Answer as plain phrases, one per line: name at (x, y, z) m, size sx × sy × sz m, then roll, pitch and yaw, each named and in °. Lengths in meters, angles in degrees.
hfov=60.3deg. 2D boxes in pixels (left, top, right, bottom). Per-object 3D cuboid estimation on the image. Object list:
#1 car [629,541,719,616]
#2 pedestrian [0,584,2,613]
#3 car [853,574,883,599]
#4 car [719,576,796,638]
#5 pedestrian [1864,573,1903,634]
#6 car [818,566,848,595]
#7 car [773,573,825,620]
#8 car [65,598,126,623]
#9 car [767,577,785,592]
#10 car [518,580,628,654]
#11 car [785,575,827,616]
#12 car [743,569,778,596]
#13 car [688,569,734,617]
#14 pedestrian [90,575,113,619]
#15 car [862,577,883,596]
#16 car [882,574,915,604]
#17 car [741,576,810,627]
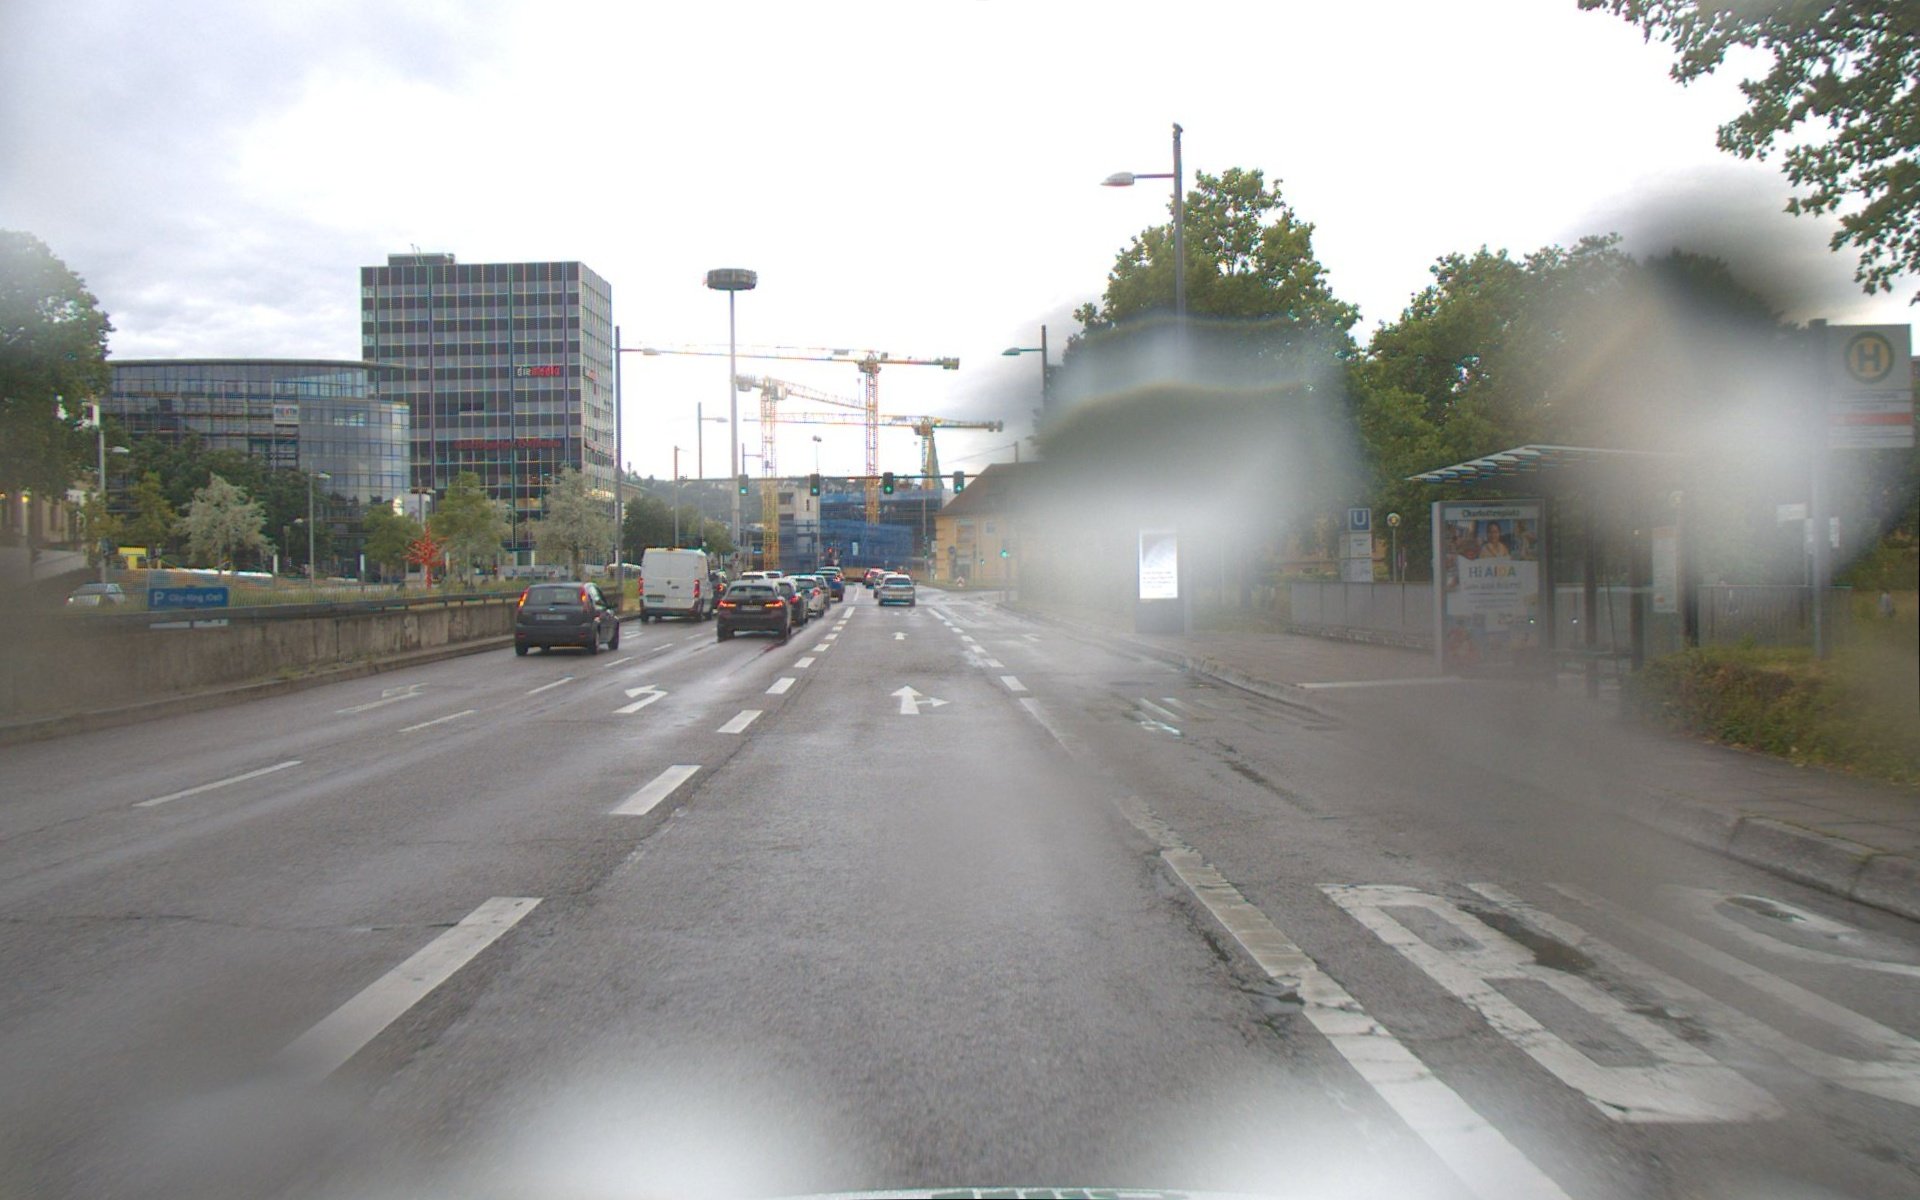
car at (-9.422, -0.657, 54.892) m, size 2.246 × 2.354 × 5.003 m, roll 0°, pitch -1°, yaw -2°
pedestrian at (-46.854, -0.080, 80.159) m, size 0.482 × 1.448 × 0.633 m, roll 0°, pitch -1°, yaw -1°
car at (-7.354, -1.089, 132.816) m, size 2.117 × 1.912 × 3.770 m, roll 0°, pitch -1°, yaw 0°
car at (-5.218, 0.144, 42.991) m, size 1.719 × 1.497 × 4.220 m, roll 0°, pitch 1°, yaw -4°
pedestrian at (26.047, 0.099, 46.641) m, size 0.634 × 1.722 × 0.772 m, roll 0°, pitch -1°, yaw -5°
car at (-6.610, -0.999, 86.082) m, size 1.463 × 1.393 × 3.031 m, roll 0°, pitch -1°, yaw -3°
car at (-5.926, -0.108, 61.162) m, size 1.844 × 1.681 × 3.454 m, roll 0°, pitch -1°, yaw -5°
car at (-40.514, 0.514, 77.556) m, size 1.411 × 1.134 × 3.019 m, roll 0°, pitch -1°, yaw -3°
car at (-11.149, -0.949, 100.287) m, size 1.012 × 0.899 × 1.842 m, roll 0°, pitch -1°, yaw -5°
car at (-7.934, 0.349, 34.182) m, size 1.511 × 1.440 × 3.899 m, roll 0°, pitch 0°, yaw -3°
car at (-6.782, -0.161, 73.044) m, size 1.682 × 1.758 × 3.492 m, roll 0°, pitch -1°, yaw -3°
car at (-10.051, -0.862, 83.417) m, size 1.520 × 1.282 × 2.579 m, roll 0°, pitch -1°, yaw -3°
car at (-9.297, -0.257, 61.860) m, size 1.435 × 1.736 × 3.138 m, roll 0°, pitch -1°, yaw -4°
pedestrian at (-43.305, -0.153, 83.431) m, size 0.752 × 2.127 × 0.726 m, roll 0°, pitch 5°, yaw -3°
car at (-4.989, -0.782, 94.559) m, size 1.054 × 1.008 × 1.971 m, roll 0°, pitch -1°, yaw 0°
car at (-2.886, -0.526, 78.158) m, size 1.414 × 1.383 × 2.412 m, roll 0°, pitch -1°, yaw 0°
car at (-5.728, 0.054, 51.617) m, size 1.792 × 1.521 × 3.398 m, roll 0°, pitch -1°, yaw -1°
